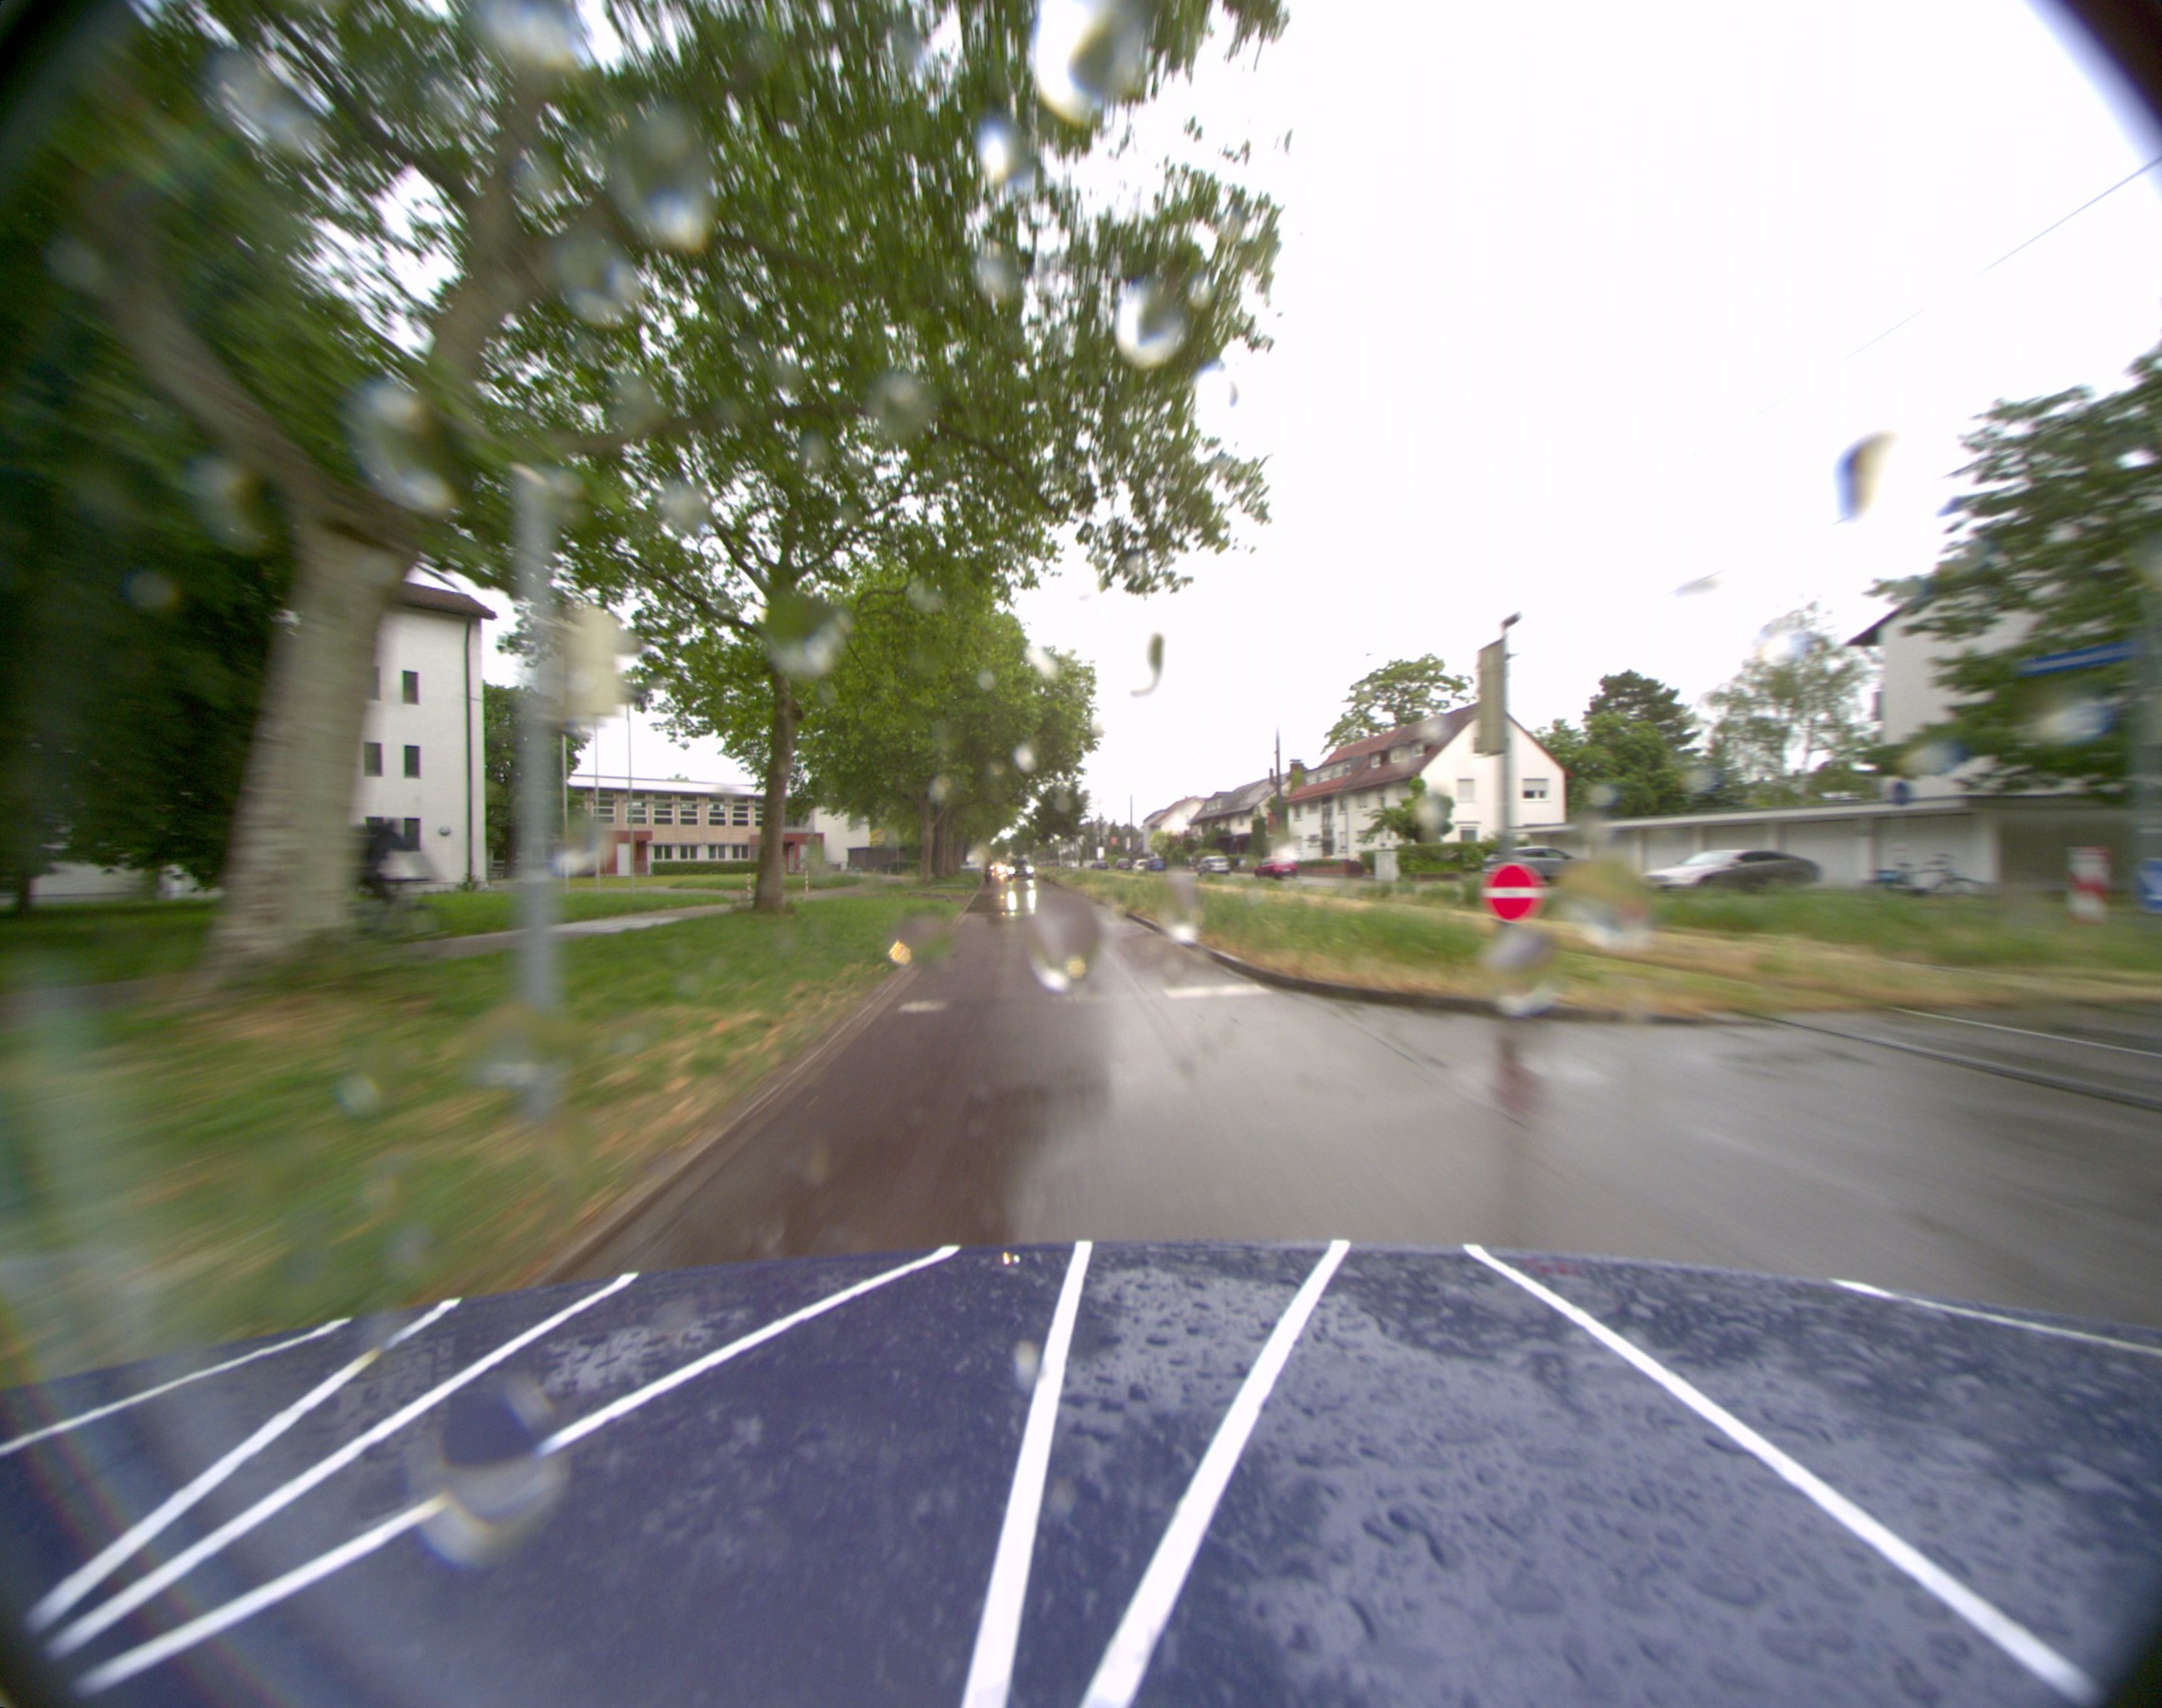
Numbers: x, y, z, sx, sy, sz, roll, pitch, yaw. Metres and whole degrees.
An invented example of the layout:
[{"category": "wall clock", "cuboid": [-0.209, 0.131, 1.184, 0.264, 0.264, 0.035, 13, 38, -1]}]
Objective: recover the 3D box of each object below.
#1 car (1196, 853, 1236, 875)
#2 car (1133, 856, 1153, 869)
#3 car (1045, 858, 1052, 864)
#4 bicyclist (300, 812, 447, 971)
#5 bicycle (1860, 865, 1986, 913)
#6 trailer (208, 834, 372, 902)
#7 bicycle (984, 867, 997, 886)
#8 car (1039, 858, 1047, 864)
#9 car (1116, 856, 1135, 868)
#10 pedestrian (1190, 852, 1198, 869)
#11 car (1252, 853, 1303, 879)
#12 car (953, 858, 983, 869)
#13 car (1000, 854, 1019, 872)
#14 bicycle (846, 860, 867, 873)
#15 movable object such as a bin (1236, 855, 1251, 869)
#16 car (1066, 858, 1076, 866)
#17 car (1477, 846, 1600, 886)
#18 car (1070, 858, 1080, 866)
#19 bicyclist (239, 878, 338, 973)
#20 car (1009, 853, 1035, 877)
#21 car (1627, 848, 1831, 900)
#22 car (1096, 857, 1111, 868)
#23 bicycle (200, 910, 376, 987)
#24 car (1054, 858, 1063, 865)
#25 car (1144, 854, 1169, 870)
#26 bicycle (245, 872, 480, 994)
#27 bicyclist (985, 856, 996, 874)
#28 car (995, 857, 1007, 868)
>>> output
[{"category": "car", "cuboid": [11.055, 0.809, 62.543, 1.999, 1.604, 4.682, -2, 0, -5]}, {"category": "car", "cuboid": [7.559, 1.046, 93.083, 1.719, 1.520, 3.599, -4, 0, -7]}, {"category": "car", "cuboid": [-8.700, 1.820, 202.968, 1.760, 1.507, 3.852, -4, 0, -6]}, {"category": "bicyclist", "cuboid": [-8.013, 0.396, 8.657, 0.713, 1.711, 0.957, 0, 2, 2]}, {"category": "bicycle", "cuboid": [19.203, 0.781, 17.382, 0.483, 1.013, 1.837, -5, 1, -30]}, {"category": "trailer", "cuboid": [-28.649, 0.464, 27.685, 1.887, 2.295, 4.029, 0, 0, 45]}, {"category": "bicycle", "cuboid": [-5.273, 1.290, 44.499, 0.659, 1.008, 2.256, -1, 0, -5]}, {"category": "car", "cuboid": [-10.756, 1.965, 214.587, 1.760, 1.507, 3.852, -4, 0, -6]}, {"category": "car", "cuboid": [6.097, 1.104, 104.658, 1.760, 1.604, 4.108, -4, 0, -6]}, {"category": "pedestrian", "cuboid": [11.826, 0.659, 79.376, 0.600, 1.757, 0.869, -2, 0, -6]}, {"category": "car", "cuboid": [12.651, 0.760, 49.157, 1.847, 1.538, 3.971, -4, 0, -5]}, {"category": "car", "cuboid": [-16.165, 1.386, 108.909, 4.022, 1.478, 1.636, 0, 0, -26]}, {"category": "car", "cuboid": [-7.511, 0.932, 79.559, 1.768, 1.715, 3.932, -2, 0, -7]}, {"category": "bicycle", "cuboid": [-20.946, 1.160, 71.071, 0.520, 1.115, 1.942, 2, 1, 37]}, {"category": "movable object such as a bin", "cuboid": [15.286, 0.777, 71.663, 1.188, 1.290, 0.739, -2, 0, -5]}, {"category": "car", "cuboid": [-2.101, 1.677, 159.789, 1.760, 1.507, 3.852, -4, 0, -6]}, {"category": "car", "cuboid": [18.745, 0.479, 31.231, 3.999, 1.567, 1.891, -1, 0, -7]}, {"category": "car", "cuboid": [-1.236, 1.635, 155.315, 1.760, 1.507, 3.852, -4, 0, -6]}, {"category": "bicyclist", "cuboid": [-9.102, 0.810, 8.745, 0.488, 1.032, 0.591, -1, 1, 1]}, {"category": "car", "cuboid": [-4.546, 0.862, 58.435, 1.768, 1.715, 3.932, -3, 0, -6]}, {"category": "car", "cuboid": [19.538, 0.575, 23.044, 4.739, 1.357, 1.847, -2, 0, -4]}, {"category": "car", "cuboid": [3.615, 1.356, 121.791, 1.760, 1.507, 3.852, -4, 0, -6]}, {"category": "bicycle", "cuboid": [-9.111, 1.060, 8.810, 0.488, 0.704, 1.457, -1, 0, 1]}, {"category": "car", "cuboid": [-5.325, 1.707, 182.175, 1.760, 1.507, 3.852, -4, 0, -6]}, {"category": "car", "cuboid": [8.568, 0.925, 86.125, 1.850, 1.696, 4.180, -2, 0, -8]}, {"category": "bicycle", "cuboid": [-8.016, 0.822, 8.641, 0.713, 1.136, 1.972, 0, 2, 2]}, {"category": "bicyclist", "cuboid": [-5.266, 0.640, 44.324, 0.622, 1.078, 0.624, -1, 1, -5]}, {"category": "car", "cuboid": [-12.660, 1.282, 119.924, 1.768, 1.715, 3.931, -1, 1, -8]}]
